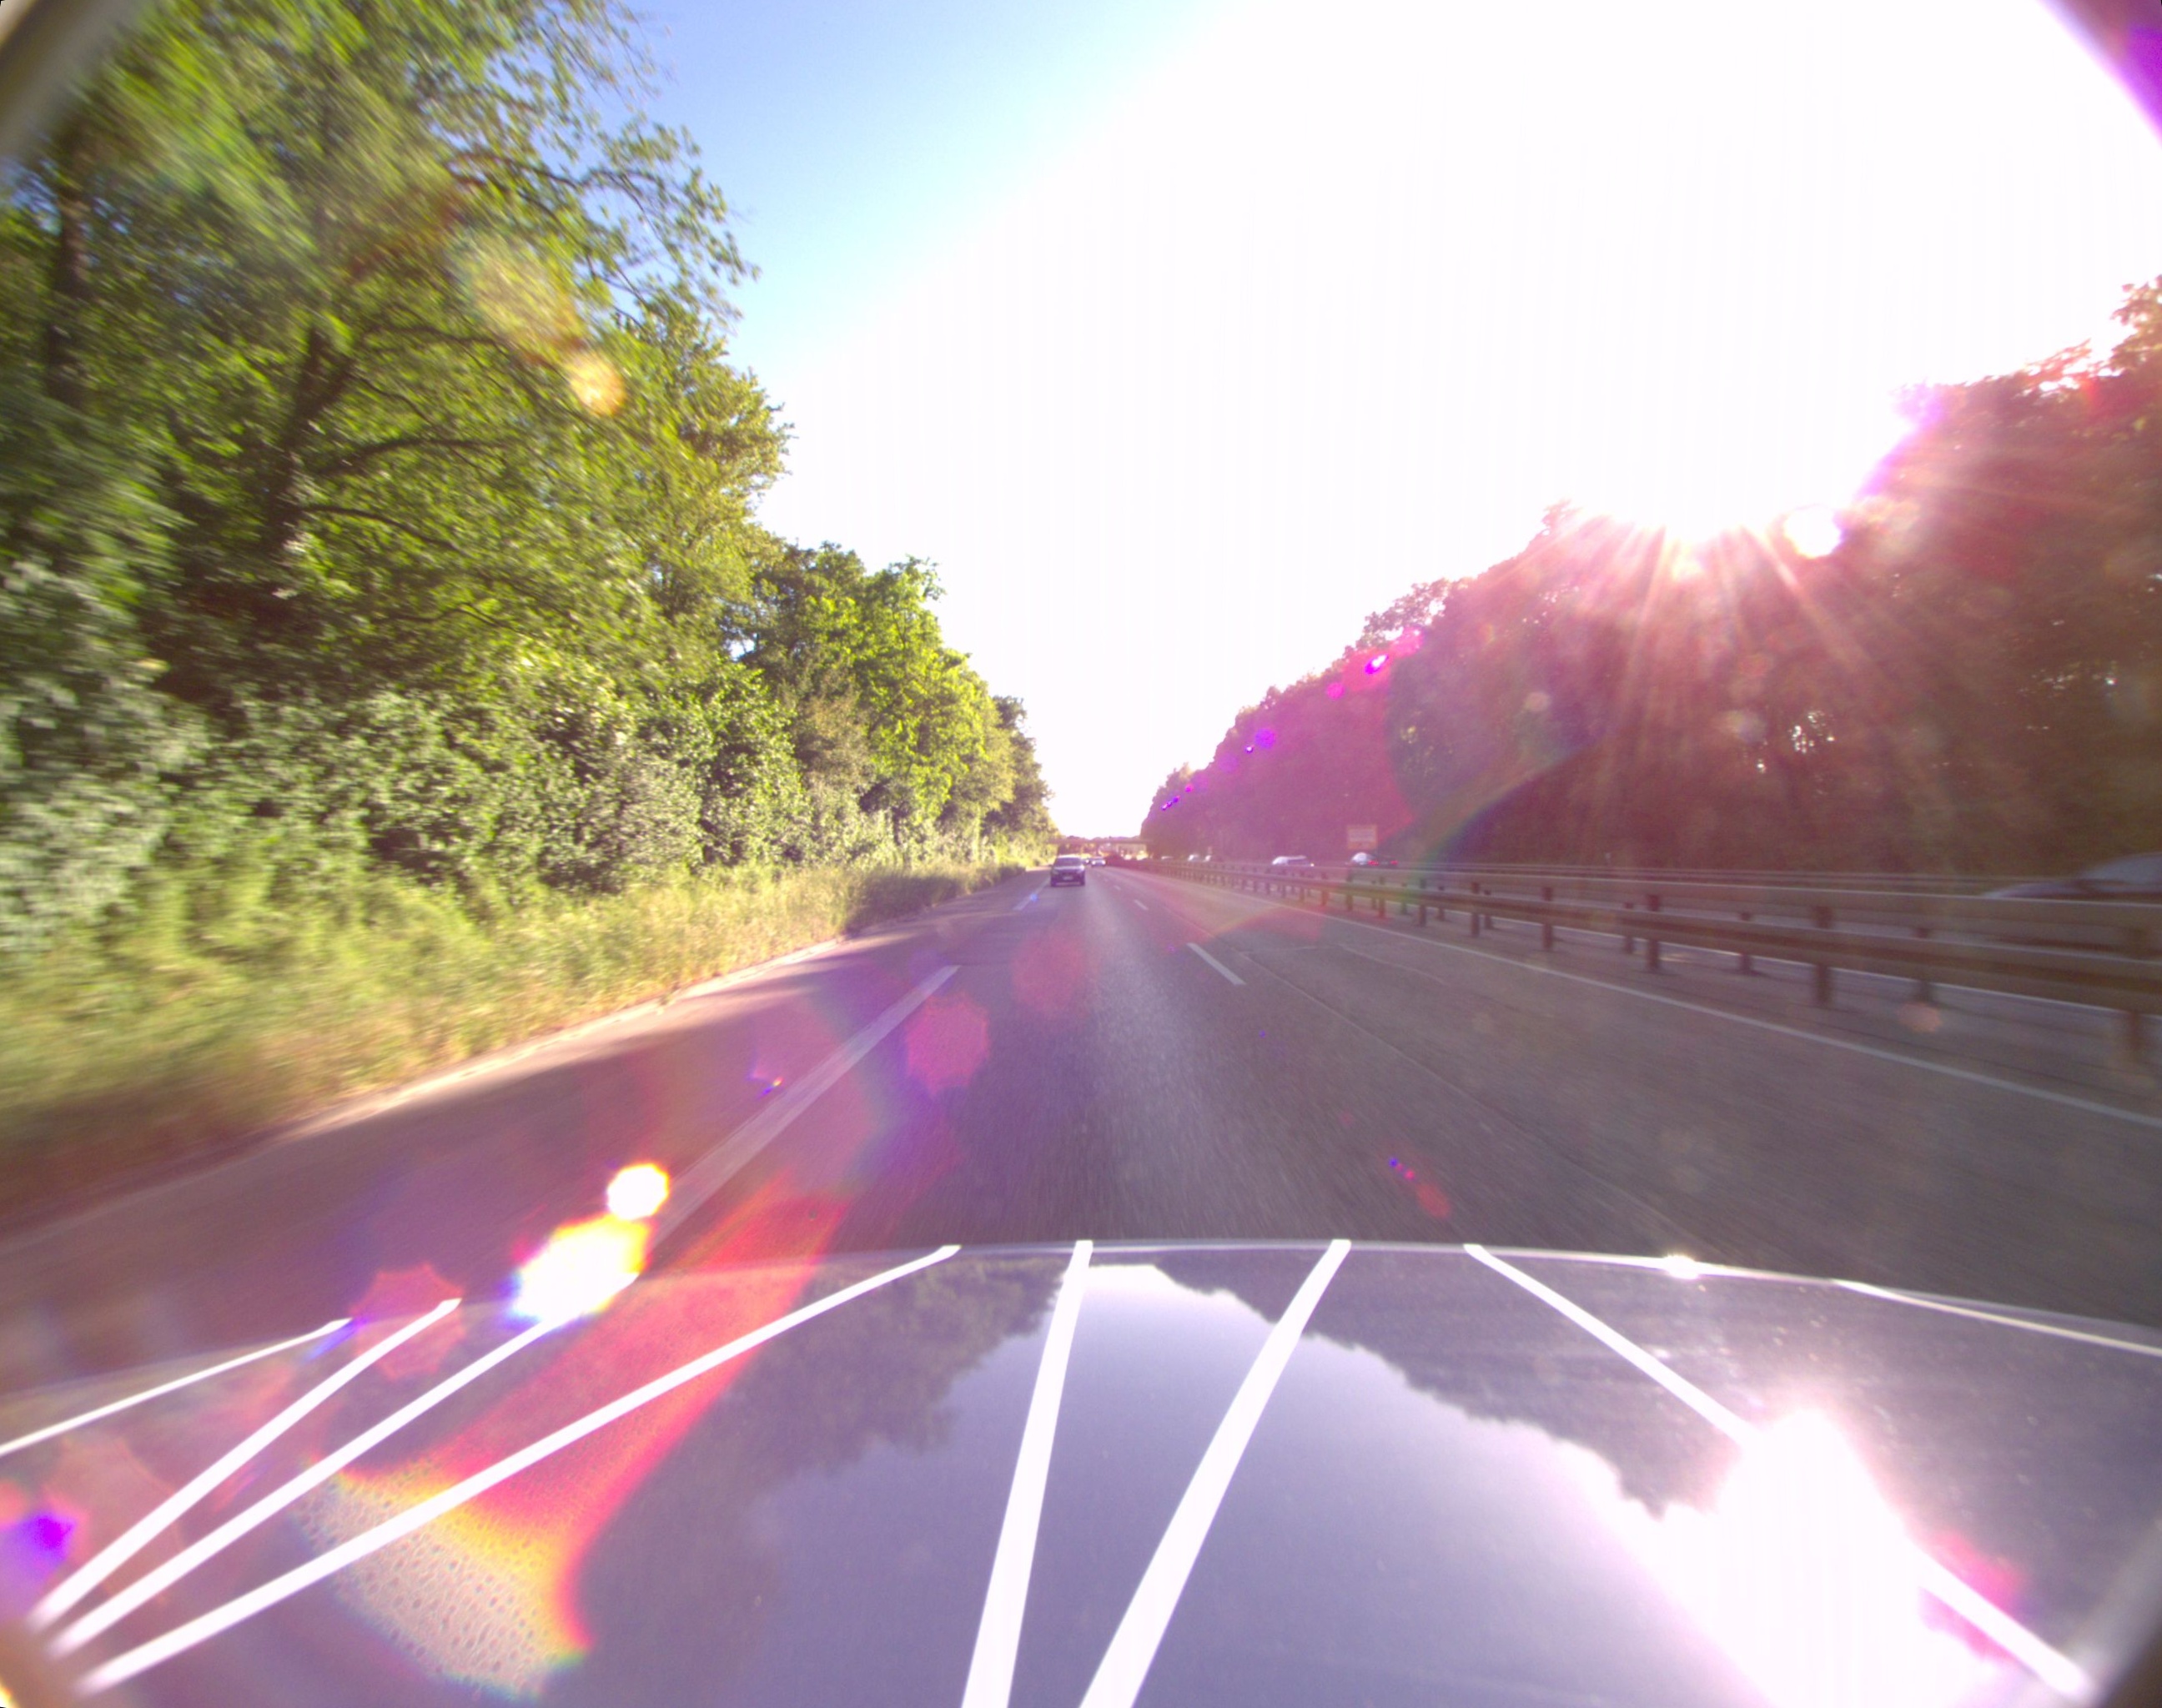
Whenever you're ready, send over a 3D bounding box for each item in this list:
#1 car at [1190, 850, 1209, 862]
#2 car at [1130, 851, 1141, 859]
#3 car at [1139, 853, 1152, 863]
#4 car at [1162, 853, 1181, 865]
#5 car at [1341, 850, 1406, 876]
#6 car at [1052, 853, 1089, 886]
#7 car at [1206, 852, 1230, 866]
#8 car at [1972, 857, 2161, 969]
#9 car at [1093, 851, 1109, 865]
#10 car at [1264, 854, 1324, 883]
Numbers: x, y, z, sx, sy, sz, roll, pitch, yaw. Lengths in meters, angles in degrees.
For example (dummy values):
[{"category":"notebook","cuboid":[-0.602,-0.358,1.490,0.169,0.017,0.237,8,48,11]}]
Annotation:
[{"category":"car","cuboid":[16.828,0.233,107.961,1.998,1.614,4.790,1,0,2]},{"category":"car","cuboid":[13.201,0.243,183.994,1.999,1.689,4.907,1,0,-1]},{"category":"car","cuboid":[9.982,0.603,117.854,1.728,1.459,4.097,1,0,2]},{"category":"car","cuboid":[11.119,0.616,93.787,1.729,1.365,4.094,1,2,-1]},{"category":"car","cuboid":[17.286,0.492,45.178,1.998,1.455,4.902,1,0,1]},{"category":"car","cuboid":[-0.508,0.792,39.827,1.712,1.565,3.423,-2,0,3]},{"category":"car","cuboid":[15.003,0.580,83.536,1.998,1.455,4.000,1,0,1]},{"category":"car","cuboid":[14.946,0.784,10.066,1.610,1.414,4.000,-1,0,0]},{"category":"car","cuboid":[2.669,0.476,102.879,1.998,1.793,4.000,1,0,0]},{"category":"car","cuboid":[11.705,0.752,42.060,1.998,1.455,4.740,1,0,1]}]
